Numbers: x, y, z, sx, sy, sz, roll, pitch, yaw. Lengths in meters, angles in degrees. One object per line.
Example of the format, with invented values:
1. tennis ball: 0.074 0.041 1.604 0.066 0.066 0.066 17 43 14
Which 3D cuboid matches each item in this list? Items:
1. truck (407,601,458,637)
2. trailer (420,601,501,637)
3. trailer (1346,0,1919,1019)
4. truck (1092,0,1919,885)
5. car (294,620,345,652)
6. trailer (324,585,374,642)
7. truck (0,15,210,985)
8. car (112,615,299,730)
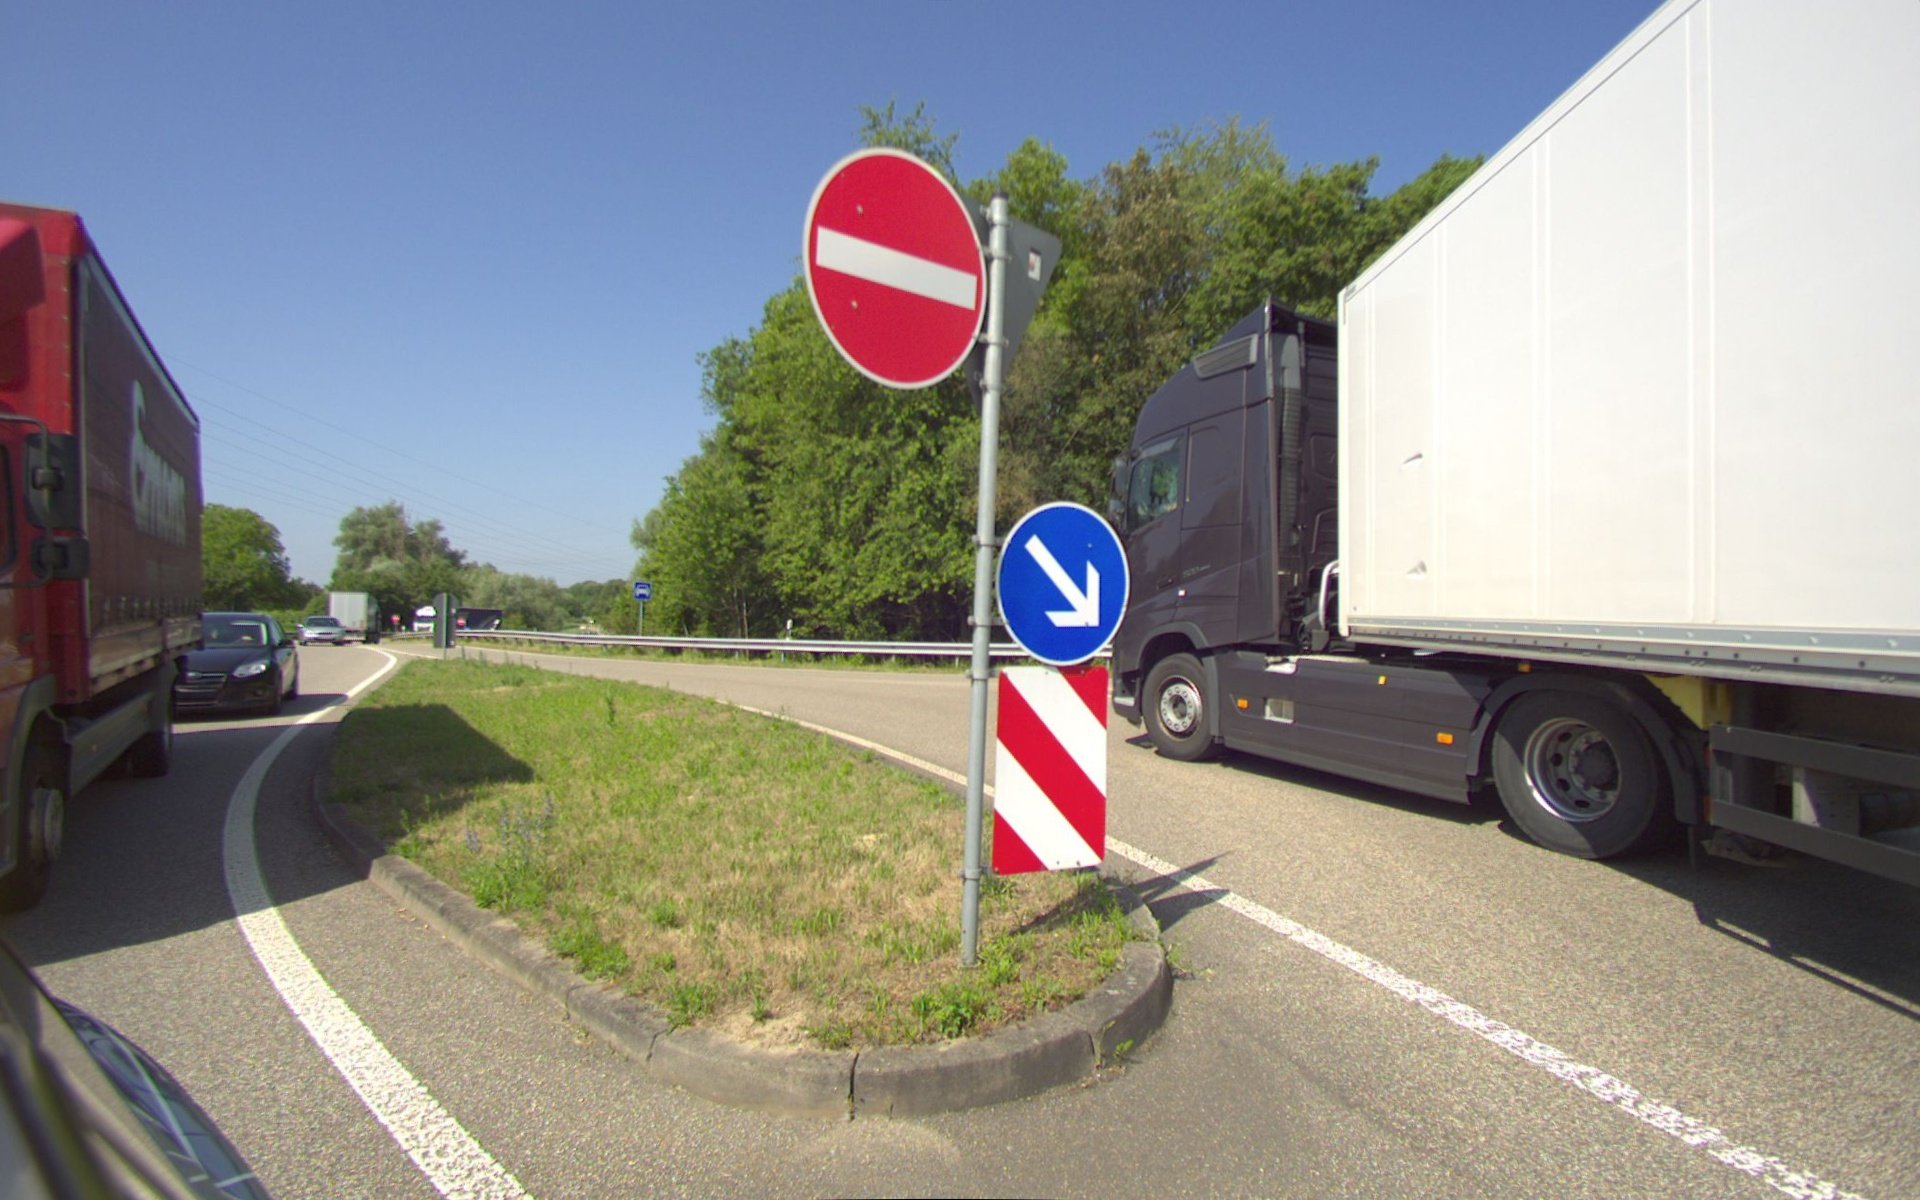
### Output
1. truck: -63.945 2.350 122.723 2.902 4.270 5.728 1 -2 2
2. trailer: -63.684 2.520 129.603 2.892 4.272 13.969 1 -2 2
3. trailer: 4.312 -0.824 1.327 2.858 4.197 13.967 -1 -1 3
4. truck: 3.848 -0.687 8.069 2.830 4.205 5.990 -1 -2 -22
5. car: -30.347 1.674 47.914 1.759 1.396 4.388 0 -1 -36
6. trailer: -50.037 1.191 83.123 2.909 4.300 14.024 2 -2 -29
7. truck: -7.233 -0.319 7.048 2.646 3.689 9.287 0 -1 -33
8. car: -10.928 0.956 14.925 1.758 1.425 4.012 0 -1 -30
